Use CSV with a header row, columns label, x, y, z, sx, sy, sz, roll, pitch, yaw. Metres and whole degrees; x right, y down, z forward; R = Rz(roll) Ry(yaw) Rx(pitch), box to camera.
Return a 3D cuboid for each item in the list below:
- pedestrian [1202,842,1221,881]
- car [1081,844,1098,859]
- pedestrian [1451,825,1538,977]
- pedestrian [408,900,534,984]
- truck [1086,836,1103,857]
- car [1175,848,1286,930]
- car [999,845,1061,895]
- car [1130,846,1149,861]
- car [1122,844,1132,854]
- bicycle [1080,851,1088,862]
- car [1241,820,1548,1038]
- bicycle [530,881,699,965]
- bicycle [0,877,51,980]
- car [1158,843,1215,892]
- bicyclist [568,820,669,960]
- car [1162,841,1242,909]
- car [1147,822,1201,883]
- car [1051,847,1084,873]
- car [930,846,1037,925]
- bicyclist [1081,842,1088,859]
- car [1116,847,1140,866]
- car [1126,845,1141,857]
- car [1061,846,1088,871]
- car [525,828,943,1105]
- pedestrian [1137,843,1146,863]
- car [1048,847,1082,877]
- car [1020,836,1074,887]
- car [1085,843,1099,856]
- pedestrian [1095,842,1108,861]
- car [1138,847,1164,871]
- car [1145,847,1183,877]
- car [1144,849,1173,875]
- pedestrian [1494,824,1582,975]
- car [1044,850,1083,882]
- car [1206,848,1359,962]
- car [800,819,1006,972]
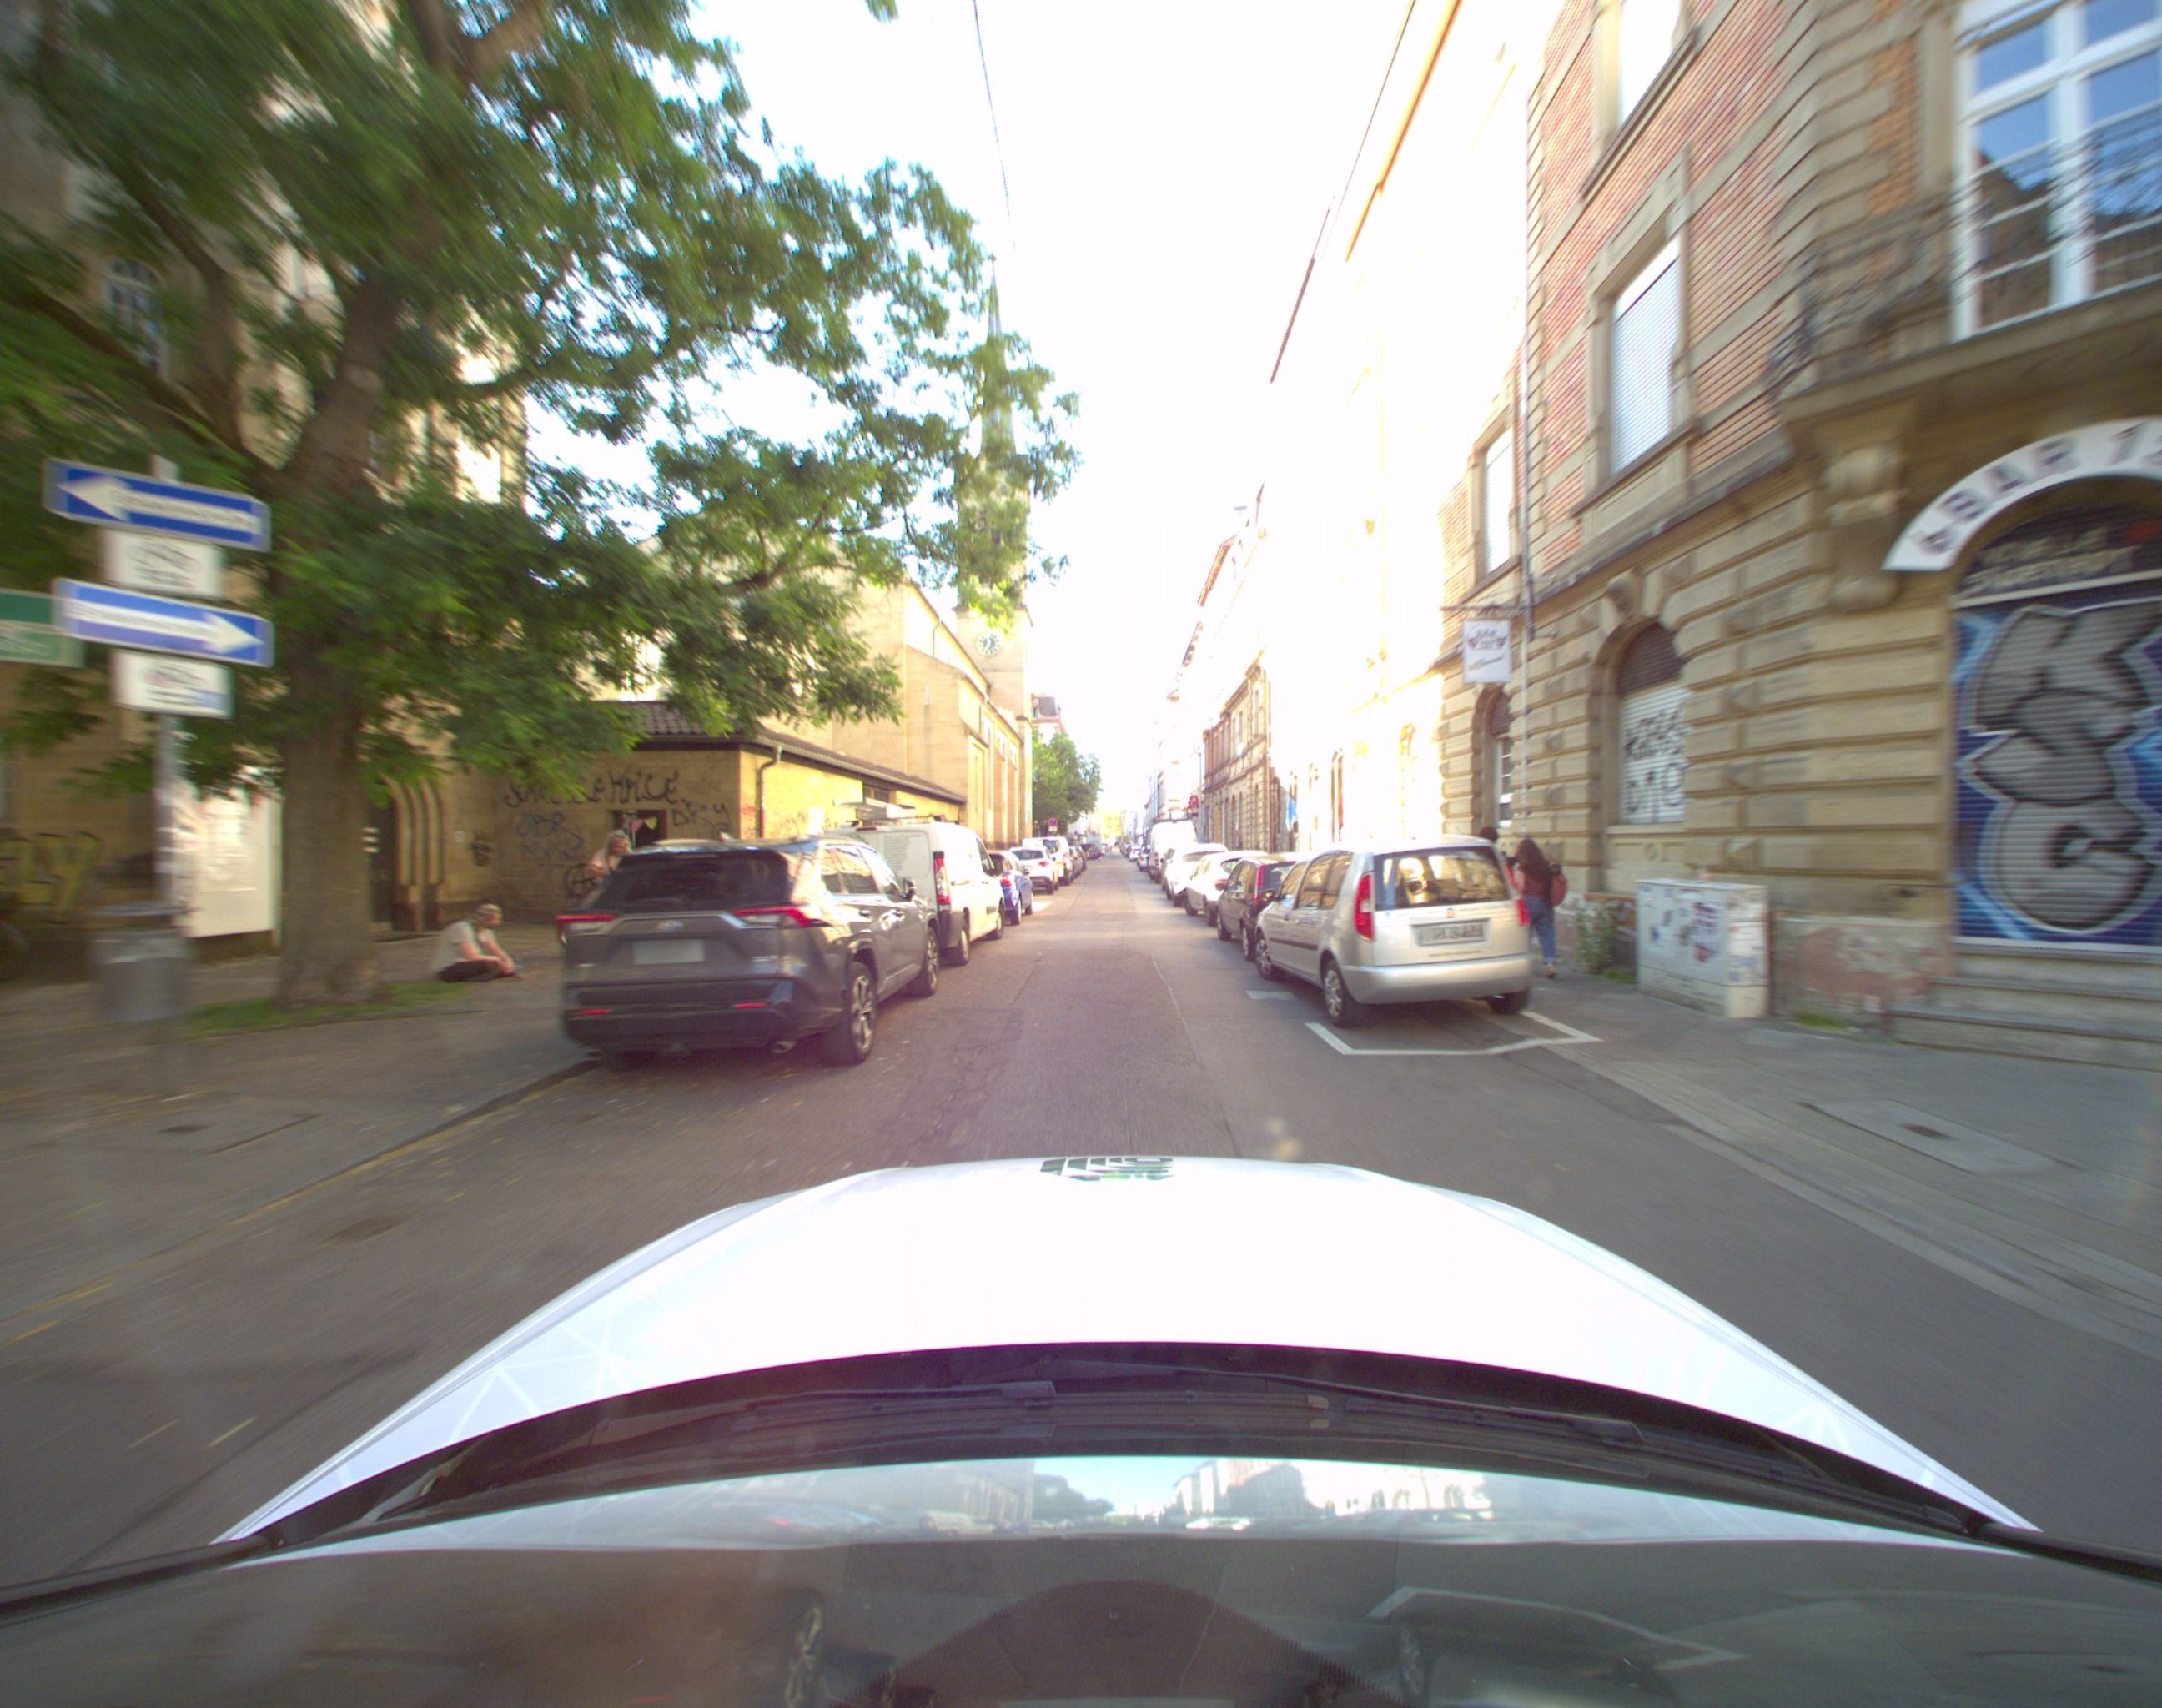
label,x,y,z,sx,sy,sz,roll,pitch,yaw
pedestrian,5.996,0.350,37.431,0.639,1.772,0.677,2,0,-6
car,1.002,-0.300,94.287,1.868,1.796,4.003,0,0,3
pedestrian,4.564,0.489,9.025,0.589,1.604,0.727,-1,1,0
pedestrian,-6.511,0.921,8.748,0.919,0.778,0.698,0,0,-22
truck,2.212,-1.252,132.636,2.522,3.281,6.999,0,0,3
car,3.155,0.674,17.867,1.568,1.525,3.906,2,0,-2
car,-1.704,0.500,28.213,1.735,1.586,3.871,0,0,2
car,5.868,-0.035,82.144,1.890,1.488,3.872,0,0,3
car,8.939,-1.028,158.484,1.985,2.013,4.003,0,0,3
bicycle,0.315,0.228,79.117,0.736,1.043,1.861,0,0,3
car,2.884,0.577,8.452,1.697,1.714,3.938,-1,1,0
bicycle,-6.078,0.875,10.659,1.750,0.923,0.829,3,1,10
bicycle,-12.156,0.787,8.668,1.769,1.054,0.478,0,1,1
car,3.700,0.441,29.178,1.680,1.642,3.927,0,1,2
bicyclist,-6.027,0.446,10.643,0.800,1.723,0.694,3,0,10
car,3.335,0.548,23.171,1.800,1.689,4.217,2,0,3
car,4.201,-0.105,37.603,2.060,2.610,5.892,1,1,2
car,-0.792,0.338,49.718,1.562,1.398,3.814,-3,0,5
car,-1.989,0.596,17.709,1.681,1.476,3.862,-2,1,2
bicyclist,0.326,-0.336,79.093,0.602,1.688,0.885,0,0,2
car,3.803,0.152,65.991,1.711,1.488,3.868,0,0,0
car,7.413,-0.404,116.207,1.985,1.632,4.003,2,1,2
car,-0.412,0.285,55.081,1.594,1.614,3.810,-2,0,2
car,-2.426,0.646,6.998,1.735,1.646,4.289,0,1,0
pedestrian,5.720,-0.121,77.097,0.681,1.843,0.692,1,0,-9
car,-0.832,0.408,44.601,1.666,1.558,4.002,-1,0,1
car,-1.334,0.275,34.068,1.857,1.957,4.612,-2,0,2
car,1.630,-0.692,116.169,1.868,1.796,4.003,0,0,3
pedestrian,2.043,-0.239,80.497,1.014,1.843,0.778,0,0,-27
car,4.589,0.298,53.611,1.597,1.504,4.004,1,1,4
car,4.497,0.391,44.742,1.772,1.486,4.363,2,1,2
car,4.664,0.449,49.214,1.563,1.495,3.656,2,1,3
pedestrian,5.129,0.480,9.172,0.572,1.621,0.734,-1,1,0
car,-0.828,0.559,40.604,1.609,1.451,3.953,-2,0,2
car,3.016,0.683,12.885,1.530,1.513,3.682,-1,1,0
car,-2.369,0.470,12.128,1.837,1.862,4.469,0,1,3
